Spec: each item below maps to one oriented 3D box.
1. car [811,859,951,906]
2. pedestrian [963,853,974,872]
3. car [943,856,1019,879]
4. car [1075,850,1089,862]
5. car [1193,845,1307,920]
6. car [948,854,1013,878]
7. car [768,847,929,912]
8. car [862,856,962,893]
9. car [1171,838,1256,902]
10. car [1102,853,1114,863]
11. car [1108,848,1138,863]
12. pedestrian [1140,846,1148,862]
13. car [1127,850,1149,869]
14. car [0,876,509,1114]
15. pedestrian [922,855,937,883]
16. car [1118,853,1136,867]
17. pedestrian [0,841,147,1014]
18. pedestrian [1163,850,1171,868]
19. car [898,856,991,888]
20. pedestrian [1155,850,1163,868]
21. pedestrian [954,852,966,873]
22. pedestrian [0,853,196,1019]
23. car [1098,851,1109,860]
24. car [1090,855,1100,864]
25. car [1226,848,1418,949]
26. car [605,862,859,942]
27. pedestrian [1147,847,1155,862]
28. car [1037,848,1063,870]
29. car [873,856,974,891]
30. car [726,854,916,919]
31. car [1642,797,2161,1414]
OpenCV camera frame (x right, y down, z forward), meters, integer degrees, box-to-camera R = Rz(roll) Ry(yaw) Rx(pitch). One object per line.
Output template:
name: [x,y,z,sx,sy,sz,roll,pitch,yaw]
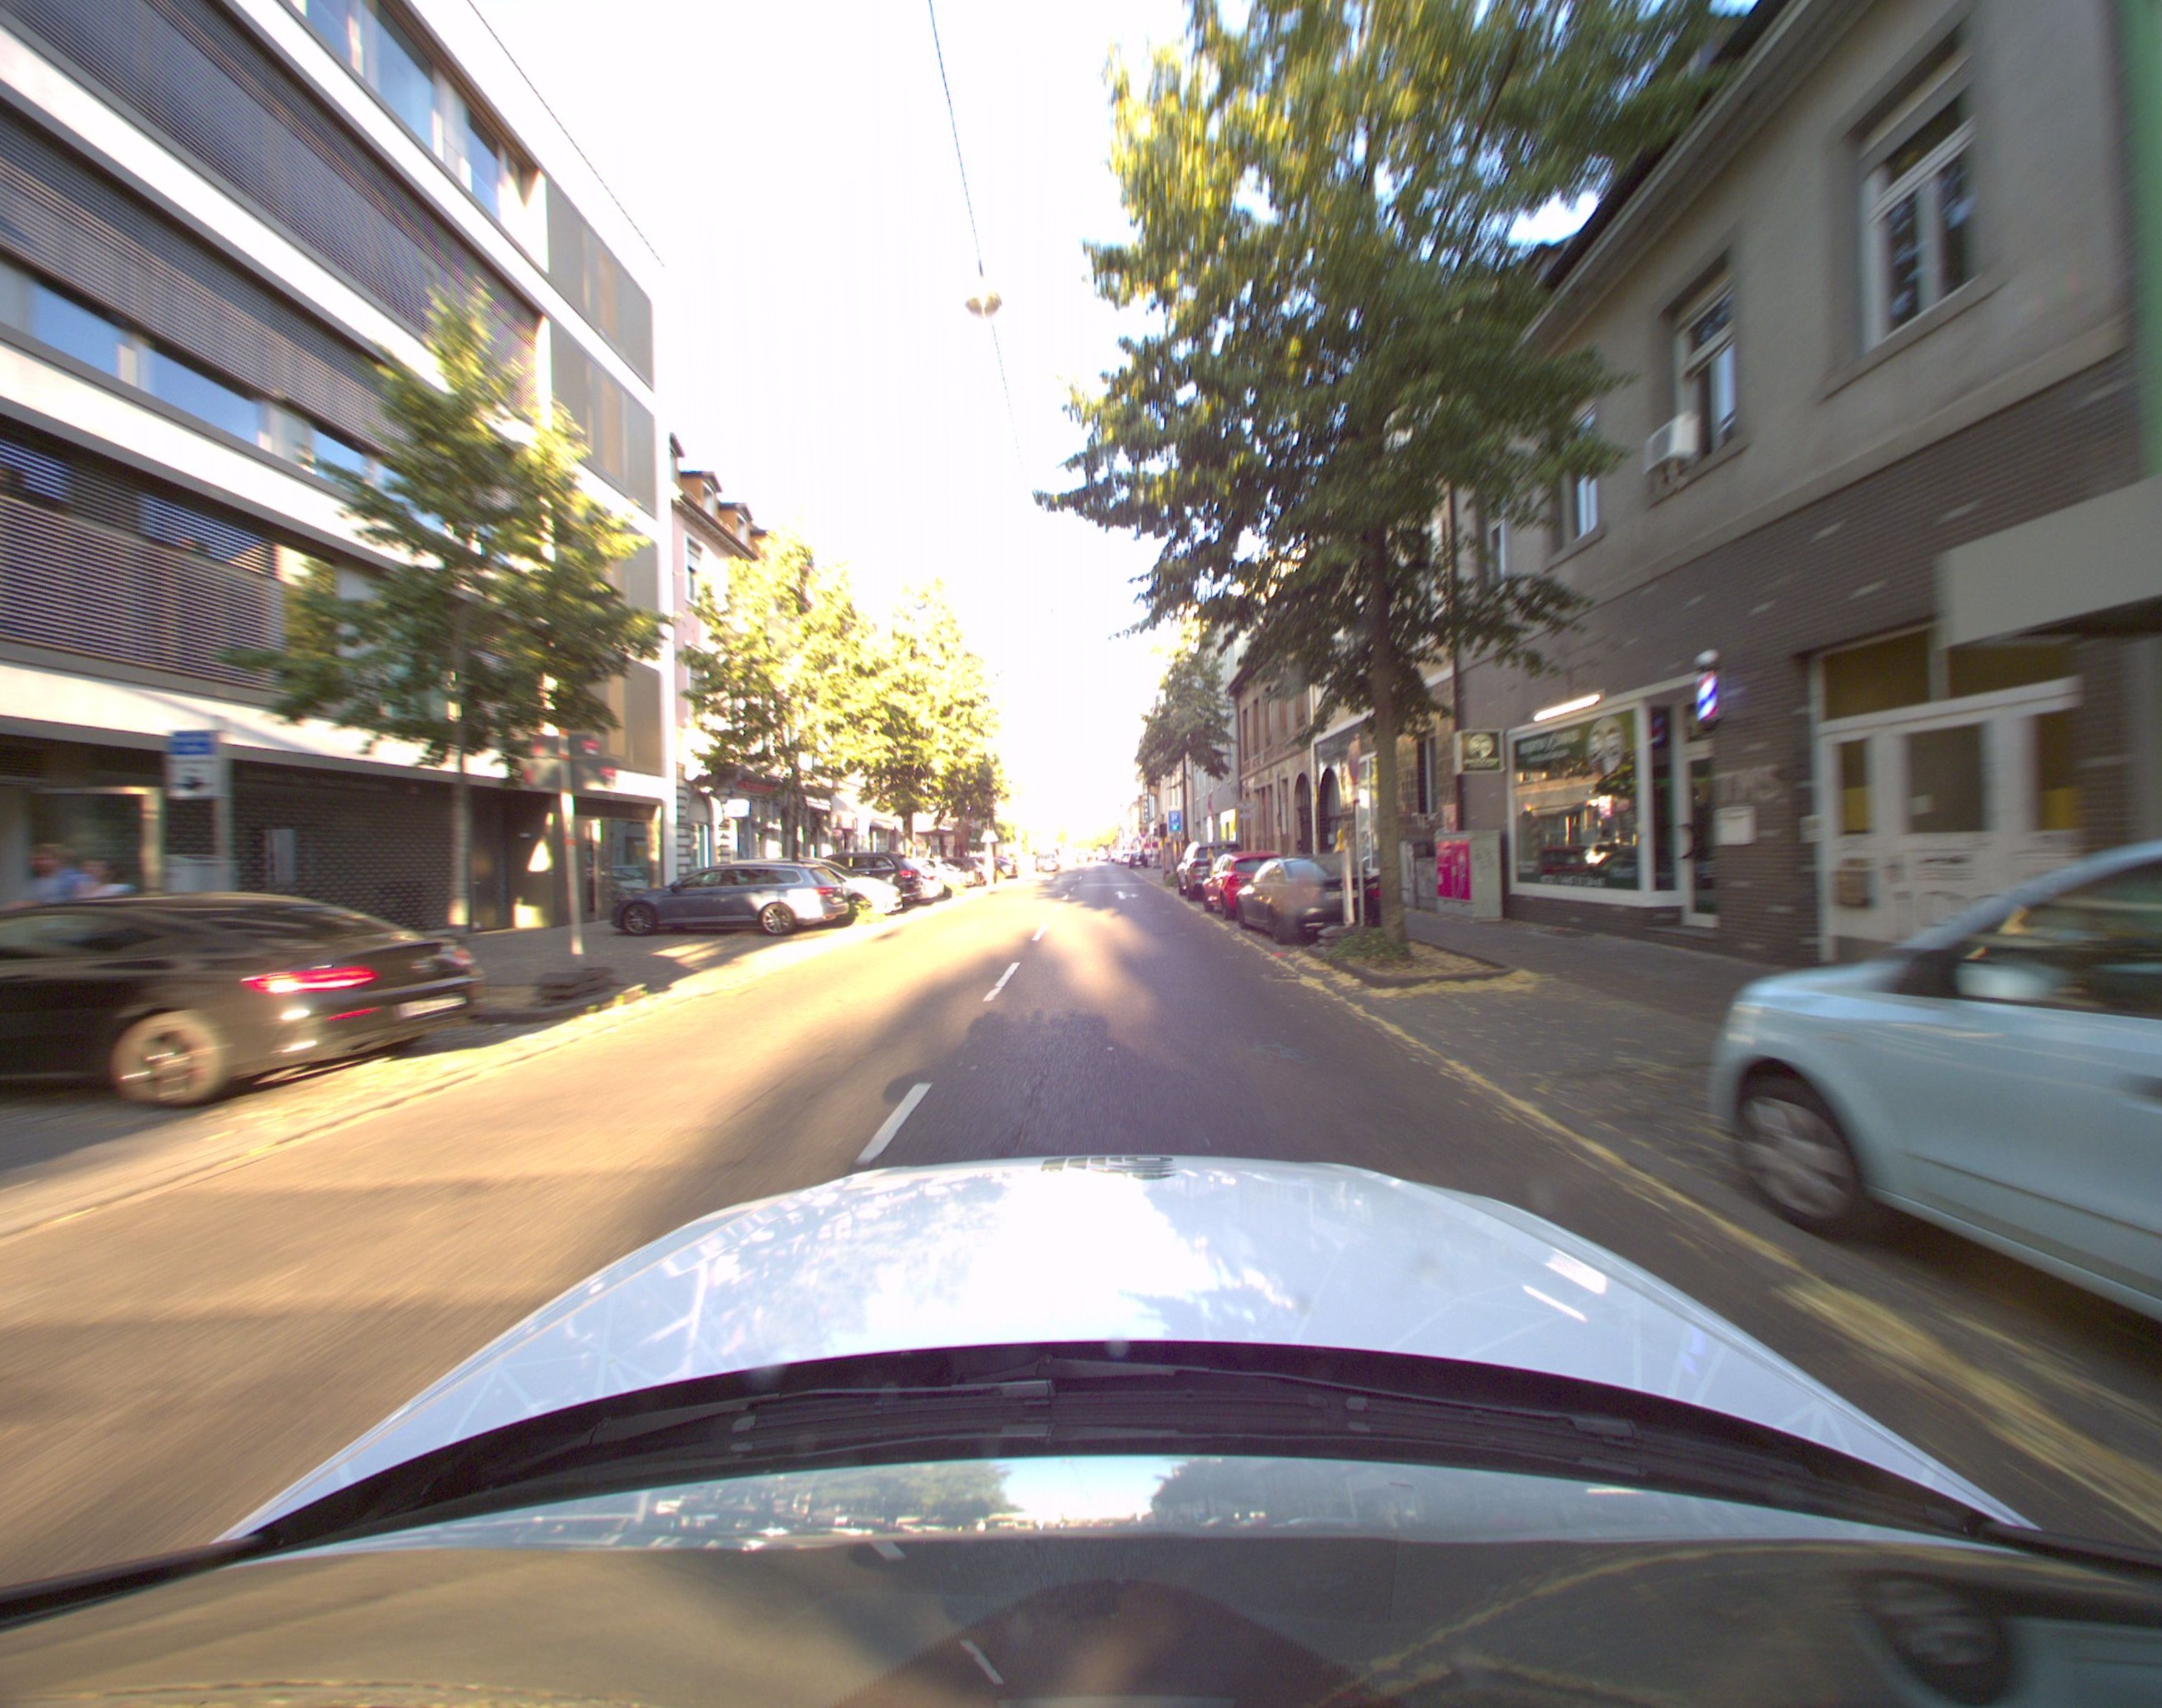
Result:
car: [-6.480,0.908,26.753,4.137,1.421,1.766,-1,0,-2]
pedestrian: [-8.893,0.689,64.475,0.731,1.528,0.876,0,-2,1]
car: [-6.255,0.845,51.271,4.556,1.407,1.821,-1,0,-1]
car: [0.135,0.337,119.375,1.890,1.649,4.104,-1,0,1]
car: [3.890,0.603,19.391,1.725,1.487,3.898,-4,0,-1]
car: [-6.668,0.813,54.307,4.058,1.536,1.884,-1,0,1]
car: [-6.701,0.726,23.797,4.137,1.773,1.889,-1,0,-2]
car: [-6.875,0.833,33.447,3.728,1.444,1.805,-1,0,-2]
car: [4.103,0.458,25.985,2.031,1.737,4.713,-4,0,2]
car: [4.161,0.631,126.342,1.724,1.650,4.285,0,0,1]
car: [5.171,0.223,100.088,2.001,1.761,4.433,-2,0,-21]
pedestrian: [7.445,0.016,96.493,0.770,1.827,1.011,-3,0,0]
car: [5.137,0.456,73.721,1.752,1.536,4.002,-5,0,2]
car: [-7.171,0.983,6.284,4.259,1.484,1.745,-1,0,1]
pedestrian: [-9.515,0.929,51.108,0.769,1.721,0.876,0,-2,1]
car: [5.216,0.719,92.393,1.754,1.536,4.819,0,-1,-1]
pedestrian: [-10.936,0.747,8.734,0.716,1.749,0.934,1,0,1]
pedestrian: [7.738,0.443,73.446,0.602,1.599,0.774,-1,0,0]
car: [-6.403,0.837,38.607,4.095,1.403,1.883,-1,0,-2]
pedestrian: [7.012,0.484,73.310,0.602,1.599,0.774,-1,0,0]
pedestrian: [-9.579,0.691,64.345,0.769,1.608,0.876,0,-2,1]
pedestrian: [-10.214,0.798,8.494,0.716,1.602,1.095,1,0,1]
car: [3.868,0.317,140.528,1.890,1.581,4.000,0,0,1]
car: [2.634,1.043,154.079,1.890,1.581,3.852,1,0,1]
car: [4.047,0.675,14.532,1.946,1.390,4.422,-4,0,-1]
car: [-7.206,0.961,17.157,4.535,1.484,1.743,-1,0,-2]
pedestrian: [8.318,0.011,96.547,0.770,1.711,1.042,-3,0,0]
car: [-2.565,0.411,68.576,1.855,1.692,4.461,-2,1,1]
car: [-6.987,0.855,36.376,4.081,1.403,1.844,-1,0,2]
car: [-6.777,0.820,21.575,4.392,1.596,1.890,-1,0,0]
car: [3.532,0.597,2.101,1.685,1.543,3.553,-3,0,1]
